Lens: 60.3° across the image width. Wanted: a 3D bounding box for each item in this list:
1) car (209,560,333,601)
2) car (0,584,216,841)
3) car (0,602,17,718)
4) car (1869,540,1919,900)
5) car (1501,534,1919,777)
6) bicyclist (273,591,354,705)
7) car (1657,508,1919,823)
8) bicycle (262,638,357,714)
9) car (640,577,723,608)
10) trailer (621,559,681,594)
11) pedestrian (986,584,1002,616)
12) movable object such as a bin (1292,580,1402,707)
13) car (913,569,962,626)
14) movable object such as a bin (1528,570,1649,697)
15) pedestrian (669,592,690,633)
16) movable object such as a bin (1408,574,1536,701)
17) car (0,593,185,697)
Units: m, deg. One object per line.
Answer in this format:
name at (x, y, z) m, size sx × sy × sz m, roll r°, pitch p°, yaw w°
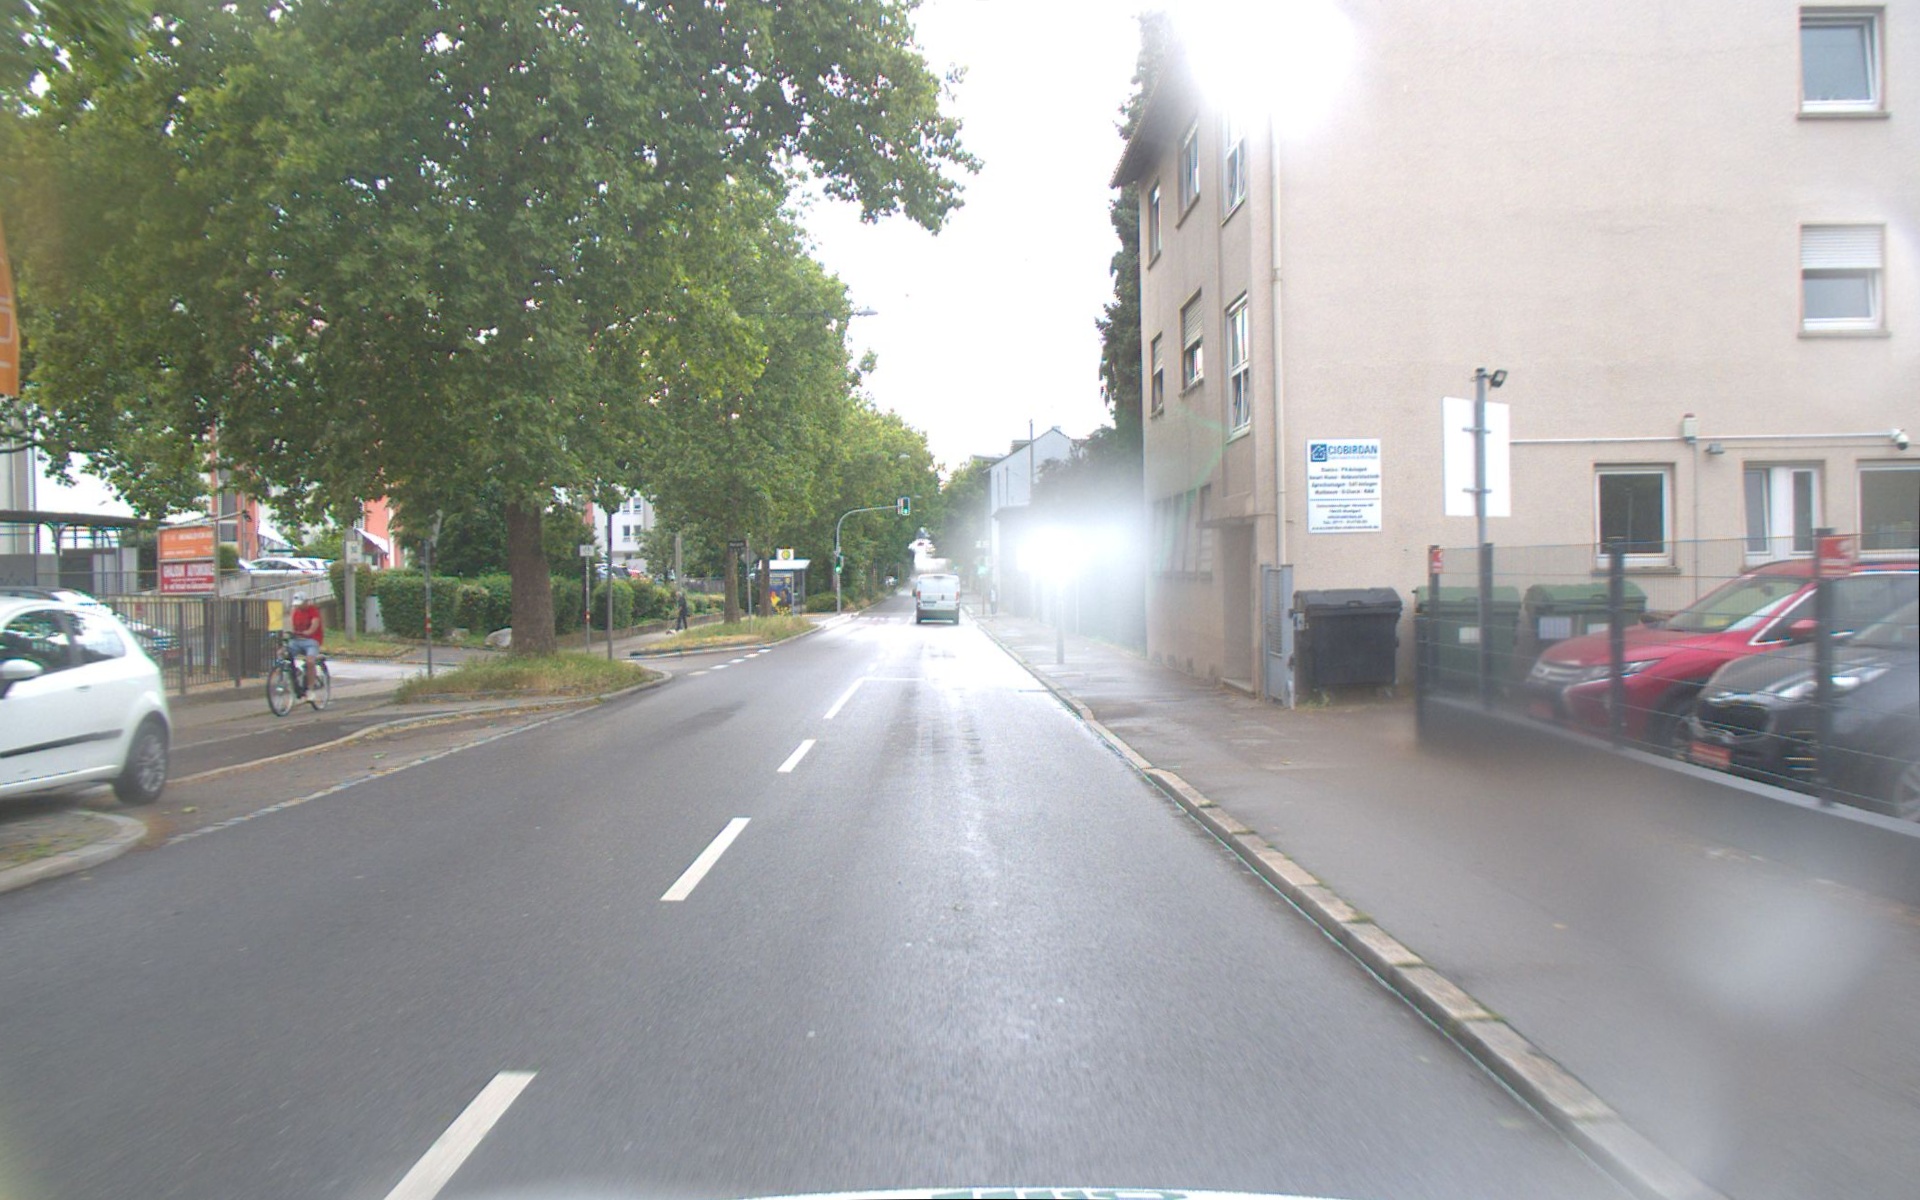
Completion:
car at (-26.198, -0.740, 62.987) m, size 3.904 × 1.439 × 1.849 m, roll 1°, pitch -1°, yaw 1°
car at (-6.796, 0.684, 11.067) m, size 1.749 × 1.578 × 4.350 m, roll 0°, pitch 1°, yaw -2°
car at (-14.749, 0.775, 21.333) m, size 4.014 × 1.524 × 1.958 m, roll 1°, pitch 0°, yaw 1°
car at (6.715, 0.607, 7.686) m, size 3.984 × 1.767 × 1.869 m, roll 1°, pitch -1°, yaw -1°
car at (6.691, 0.440, 13.178) m, size 4.142 × 1.767 × 1.869 m, roll 1°, pitch -1°, yaw -1°
bicyclist at (-9.242, 0.683, 23.665) m, size 0.816 × 1.580 × 0.816 m, roll 1°, pitch -1°, yaw -2°
car at (6.801, 0.407, 10.303) m, size 4.142 × 1.767 × 1.869 m, roll 1°, pitch -1°, yaw -1°
bicycle at (-9.255, 1.061, 23.622) m, size 0.543 × 1.013 × 2.264 m, roll 1°, pitch -1°, yaw -3°
car at (-16.000, -0.426, 95.241) m, size 4.453 × 1.701 × 1.999 m, roll 1°, pitch -1°, yaw -2°
trailer at (-15.236, -1.145, 81.622) m, size 2.649 × 1.674 × 1.480 m, roll 1°, pitch 0°, yaw 0°
pedestrian at (1.830, -0.012, 89.644) m, size 0.728 × 1.734 × 0.900 m, roll 1°, pitch -1°, yaw -6°
movable object such as a bin at (4.966, 0.556, 21.290) m, size 1.088 × 1.536 × 0.986 m, roll -3°, pitch -1°, yaw -2°
car at (-1.057, -0.097, 77.814) m, size 2.236 × 2.597 × 3.999 m, roll 0°, pitch -1°, yaw -1°
movable object such as a bin at (8.070, 0.429, 21.275) m, size 1.088 × 1.536 × 1.010 m, roll -3°, pitch -1°, yaw -2°
pedestrian at (-11.218, 0.500, 66.224) m, size 0.740 × 1.639 × 0.834 m, roll 1°, pitch -1°, yaw -5°
movable object such as a bin at (6.555, 0.479, 21.245) m, size 1.209 × 1.536 × 1.110 m, roll -3°, pitch -1°, yaw -2°
car at (-15.007, 0.680, 26.550) m, size 4.123 × 1.565 × 1.981 m, roll 2°, pitch -1°, yaw -3°
